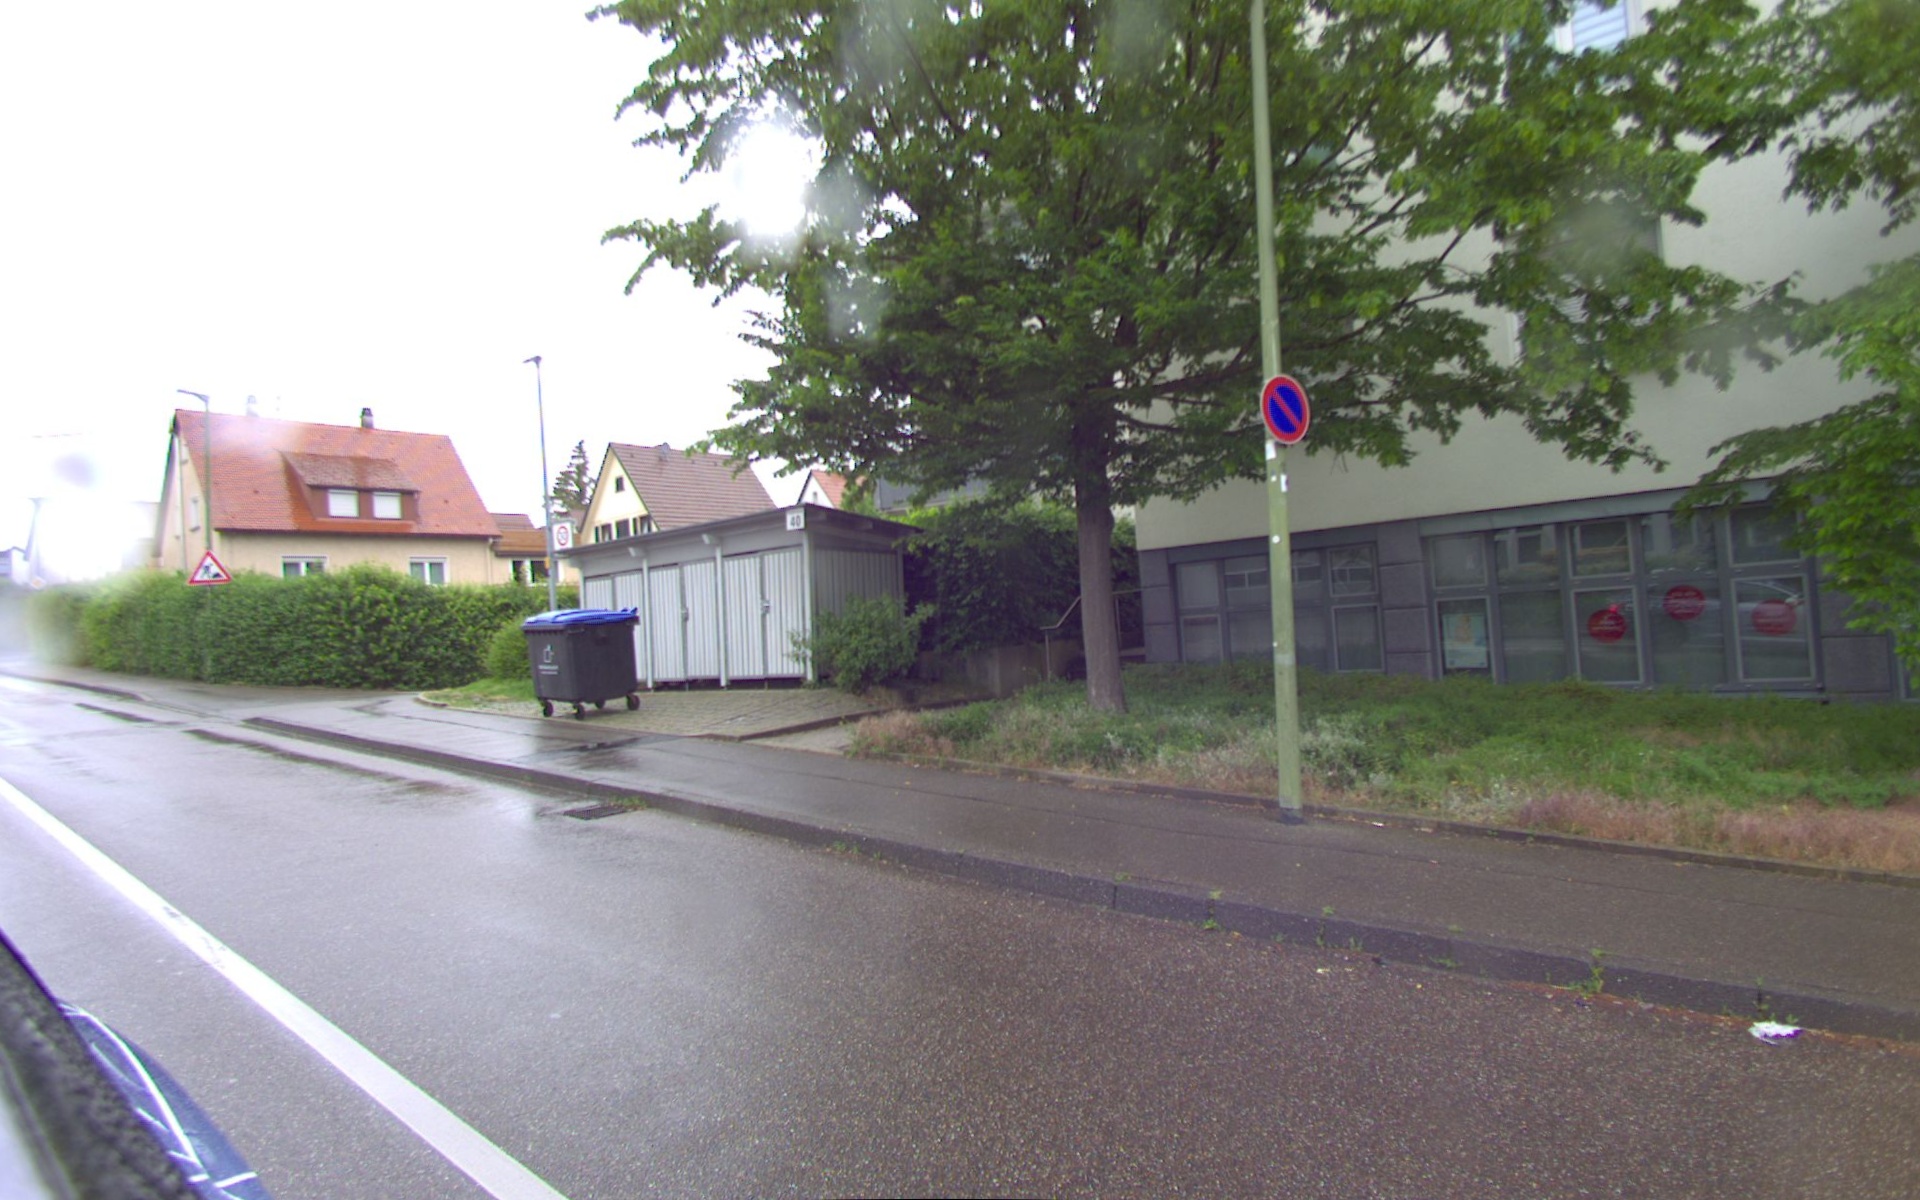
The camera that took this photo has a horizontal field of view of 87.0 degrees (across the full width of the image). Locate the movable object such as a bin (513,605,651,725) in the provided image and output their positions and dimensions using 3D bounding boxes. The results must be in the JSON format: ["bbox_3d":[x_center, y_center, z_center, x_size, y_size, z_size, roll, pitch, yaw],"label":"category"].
[{"bbox_3d":[-4.753,0.787,12.728,1.317,1.357,1.061,-2,1,39],"label":"movable object such as a bin"}]
